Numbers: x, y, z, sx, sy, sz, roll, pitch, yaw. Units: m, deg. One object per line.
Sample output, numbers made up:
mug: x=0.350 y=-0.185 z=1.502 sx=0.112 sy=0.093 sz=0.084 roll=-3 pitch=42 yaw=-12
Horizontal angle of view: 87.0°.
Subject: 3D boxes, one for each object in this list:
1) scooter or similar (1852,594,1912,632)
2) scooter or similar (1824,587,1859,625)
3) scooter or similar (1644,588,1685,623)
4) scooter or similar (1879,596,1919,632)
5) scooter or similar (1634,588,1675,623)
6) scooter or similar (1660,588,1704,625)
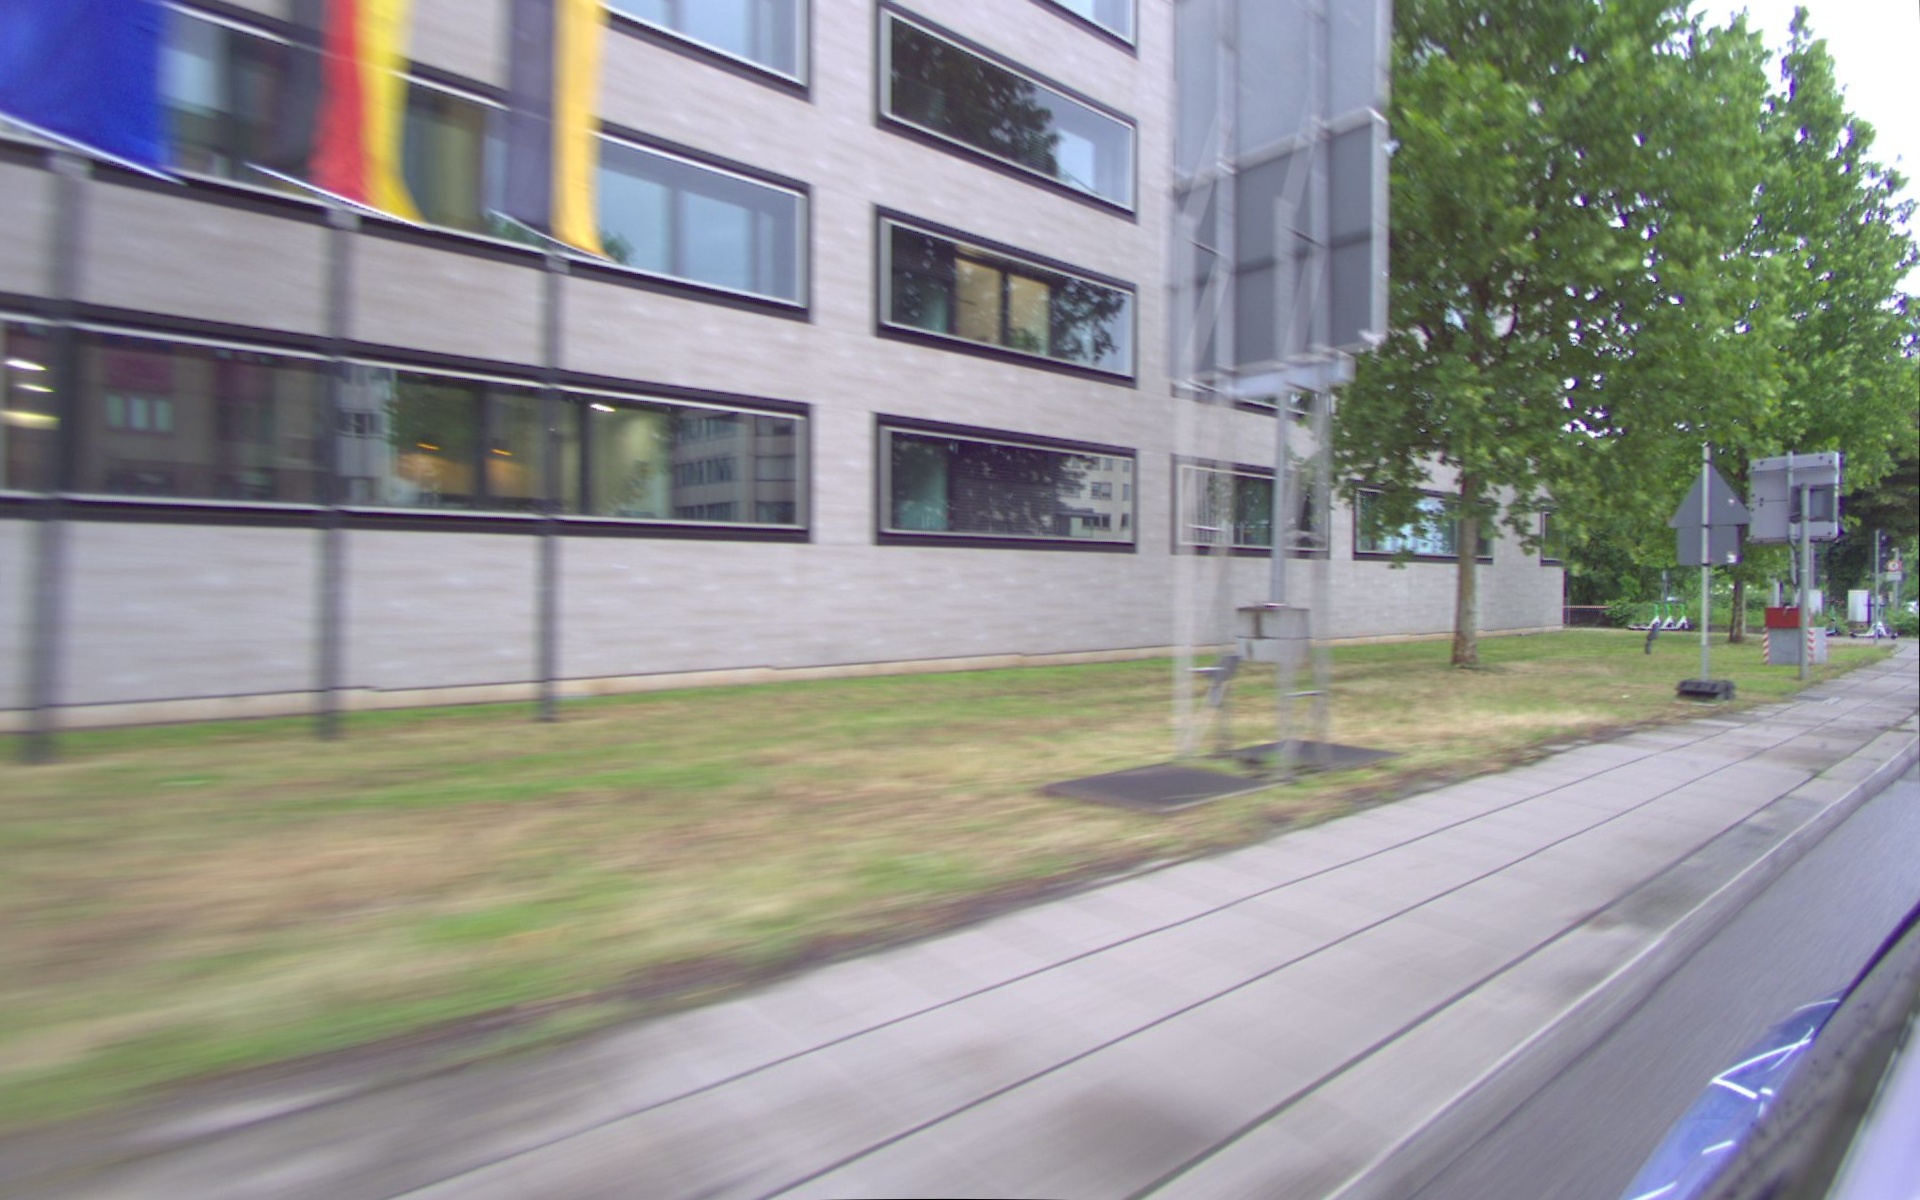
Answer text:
scooter or similar: x=30.258 y=0.417 z=33.221 sx=1.312 sy=1.216 sz=0.690 roll=0 pitch=1 yaw=-3
scooter or similar: x=29.165 y=0.177 z=33.477 sx=1.300 sy=1.216 sz=0.564 roll=-1 pitch=1 yaw=-35
scooter or similar: x=26.974 y=0.204 z=38.763 sx=0.464 sy=1.329 sz=1.238 roll=-1 pitch=1 yaw=-43
scooter or similar: x=31.315 y=0.464 z=33.629 sx=0.630 sy=1.142 sz=1.581 roll=1 pitch=1 yaw=23
scooter or similar: x=27.068 y=0.221 z=39.435 sx=0.464 sy=1.329 sz=1.238 roll=-1 pitch=1 yaw=-43
scooter or similar: x=27.045 y=0.223 z=37.905 sx=0.545 sy=1.329 sz=1.238 roll=-1 pitch=1 yaw=-43
